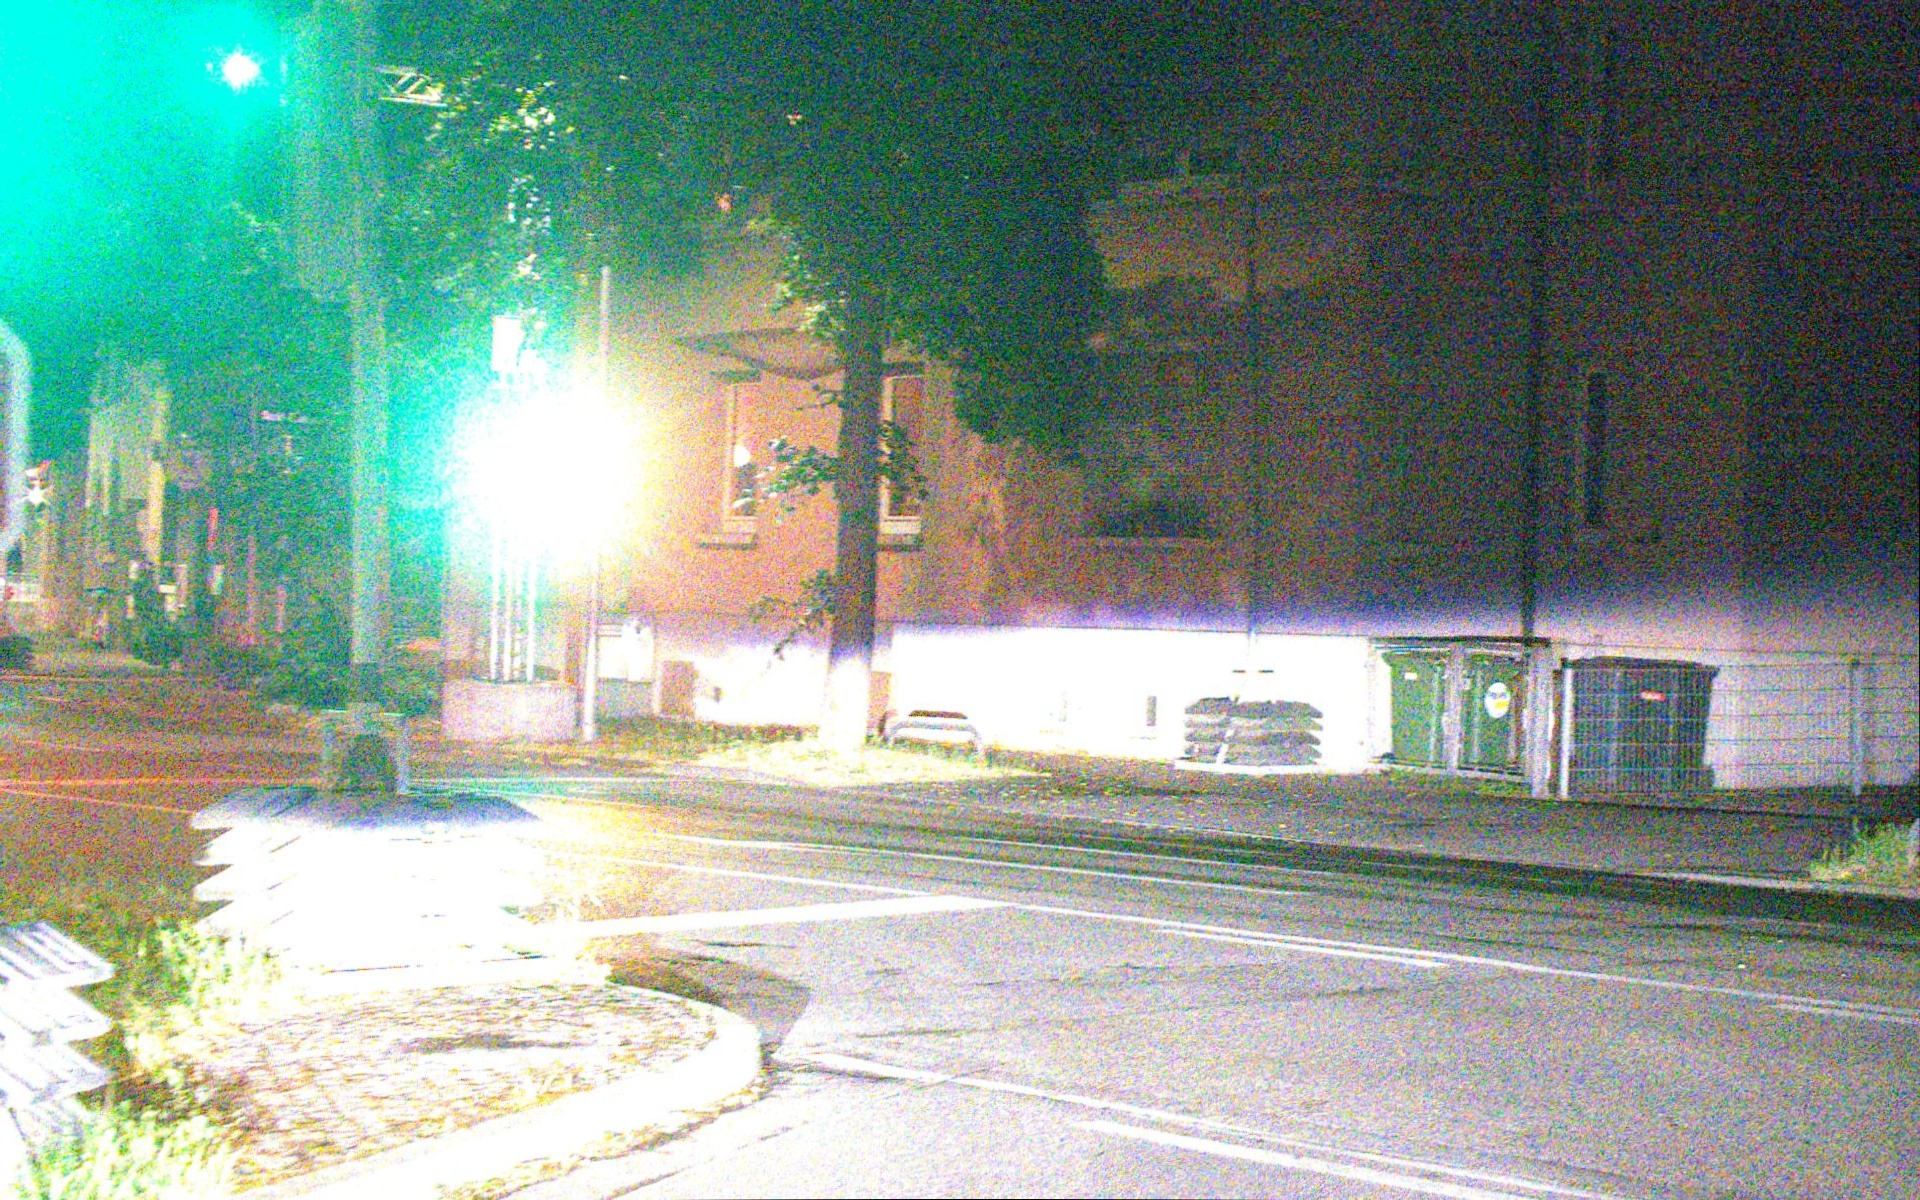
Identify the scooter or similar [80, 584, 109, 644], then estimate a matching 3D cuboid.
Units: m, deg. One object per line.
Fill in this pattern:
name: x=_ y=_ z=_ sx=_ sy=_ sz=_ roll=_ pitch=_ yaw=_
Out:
scooter or similar: x=-16.725 y=0.265 z=66.446 sx=0.421 sy=1.126 sz=1.494 roll=2 pitch=0 yaw=-11
